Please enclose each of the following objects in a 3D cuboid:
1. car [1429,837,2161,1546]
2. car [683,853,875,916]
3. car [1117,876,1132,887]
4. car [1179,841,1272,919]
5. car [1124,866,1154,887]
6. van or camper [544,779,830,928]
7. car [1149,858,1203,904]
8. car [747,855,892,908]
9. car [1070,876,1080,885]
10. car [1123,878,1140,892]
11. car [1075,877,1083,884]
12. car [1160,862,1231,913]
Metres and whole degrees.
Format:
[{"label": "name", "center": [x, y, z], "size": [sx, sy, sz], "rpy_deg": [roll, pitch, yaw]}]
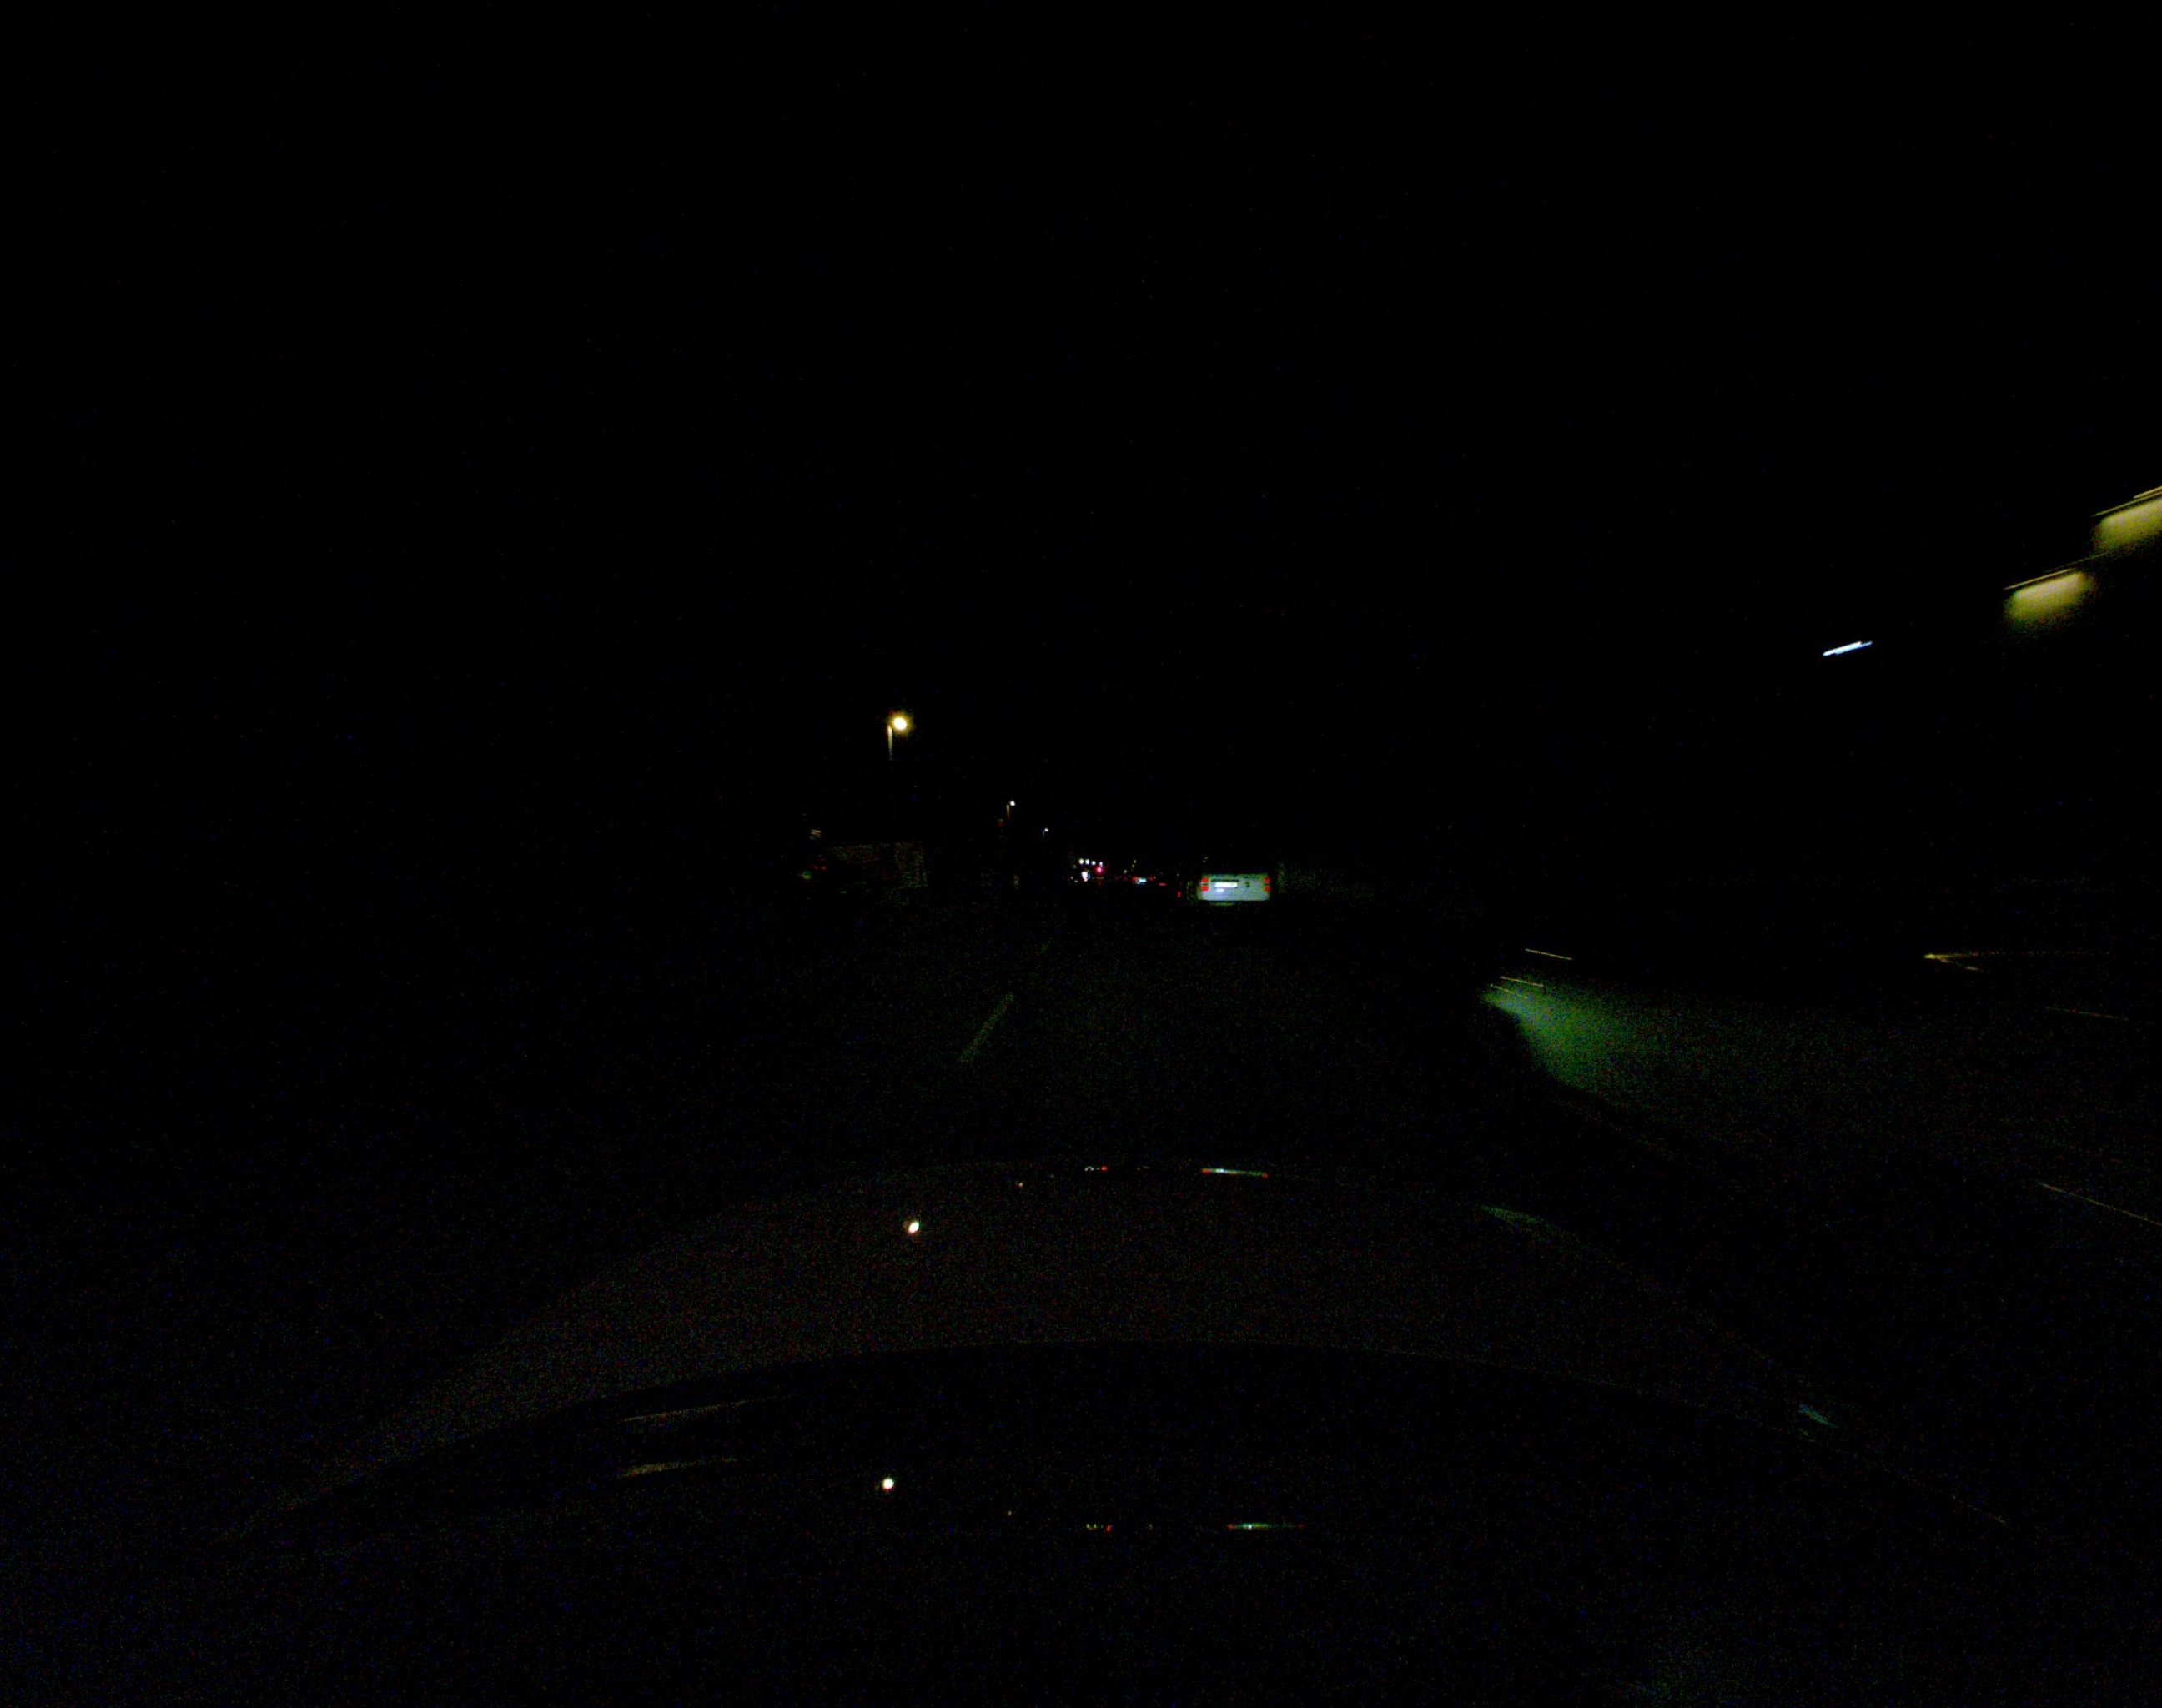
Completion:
[{"label": "car", "center": [3.123, 0.697, 3.609], "size": [1.603, 1.461, 3.718], "rpy_deg": [-3, 1, 1]}, {"label": "car", "center": [-8.113, 0.821, 22.195], "size": [4.399, 1.613, 2.066], "rpy_deg": [-1, -2, 2]}, {"label": "car", "center": [5.848, 3.739, 109.323], "size": [1.677, 1.449, 3.998], "rpy_deg": [1, -2, -1]}, {"label": "car", "center": [3.560, 0.620, 20.886], "size": [1.712, 1.761, 4.760], "rpy_deg": [1, -1, 2]}, {"label": "car", "center": [4.358, 1.712, 61.554], "size": [1.758, 1.476, 4.271], "rpy_deg": [2, -2, -2]}, {"label": "van or camper", "center": [-8.680, -0.029, 18.479], "size": [5.396, 3.111, 2.126], "rpy_deg": [-1, 0, -9]}, {"label": "car", "center": [3.652, 1.044, 31.999], "size": [1.824, 1.664, 4.622], "rpy_deg": [0, -2, 3]}, {"label": "car", "center": [-7.961, 0.827, 25.021], "size": [3.798, 1.555, 1.927], "rpy_deg": [0, 0, 1]}, {"label": "car", "center": [-1.186, 4.917, 151.458], "size": [1.748, 1.540, 3.727], "rpy_deg": [0, -2, -2]}, {"label": "car", "center": [5.261, 3.260, 85.051], "size": [1.624, 1.439, 3.863], "rpy_deg": [0, -2, 0]}, {"label": "car", "center": [-0.397, 5.507, 168.563], "size": [1.747, 1.540, 3.730], "rpy_deg": [-1, -2, 0]}, {"label": "car", "center": [3.613, 1.020, 26.373], "size": [1.737, 1.471, 4.257], "rpy_deg": [1, -1, 1]}]
